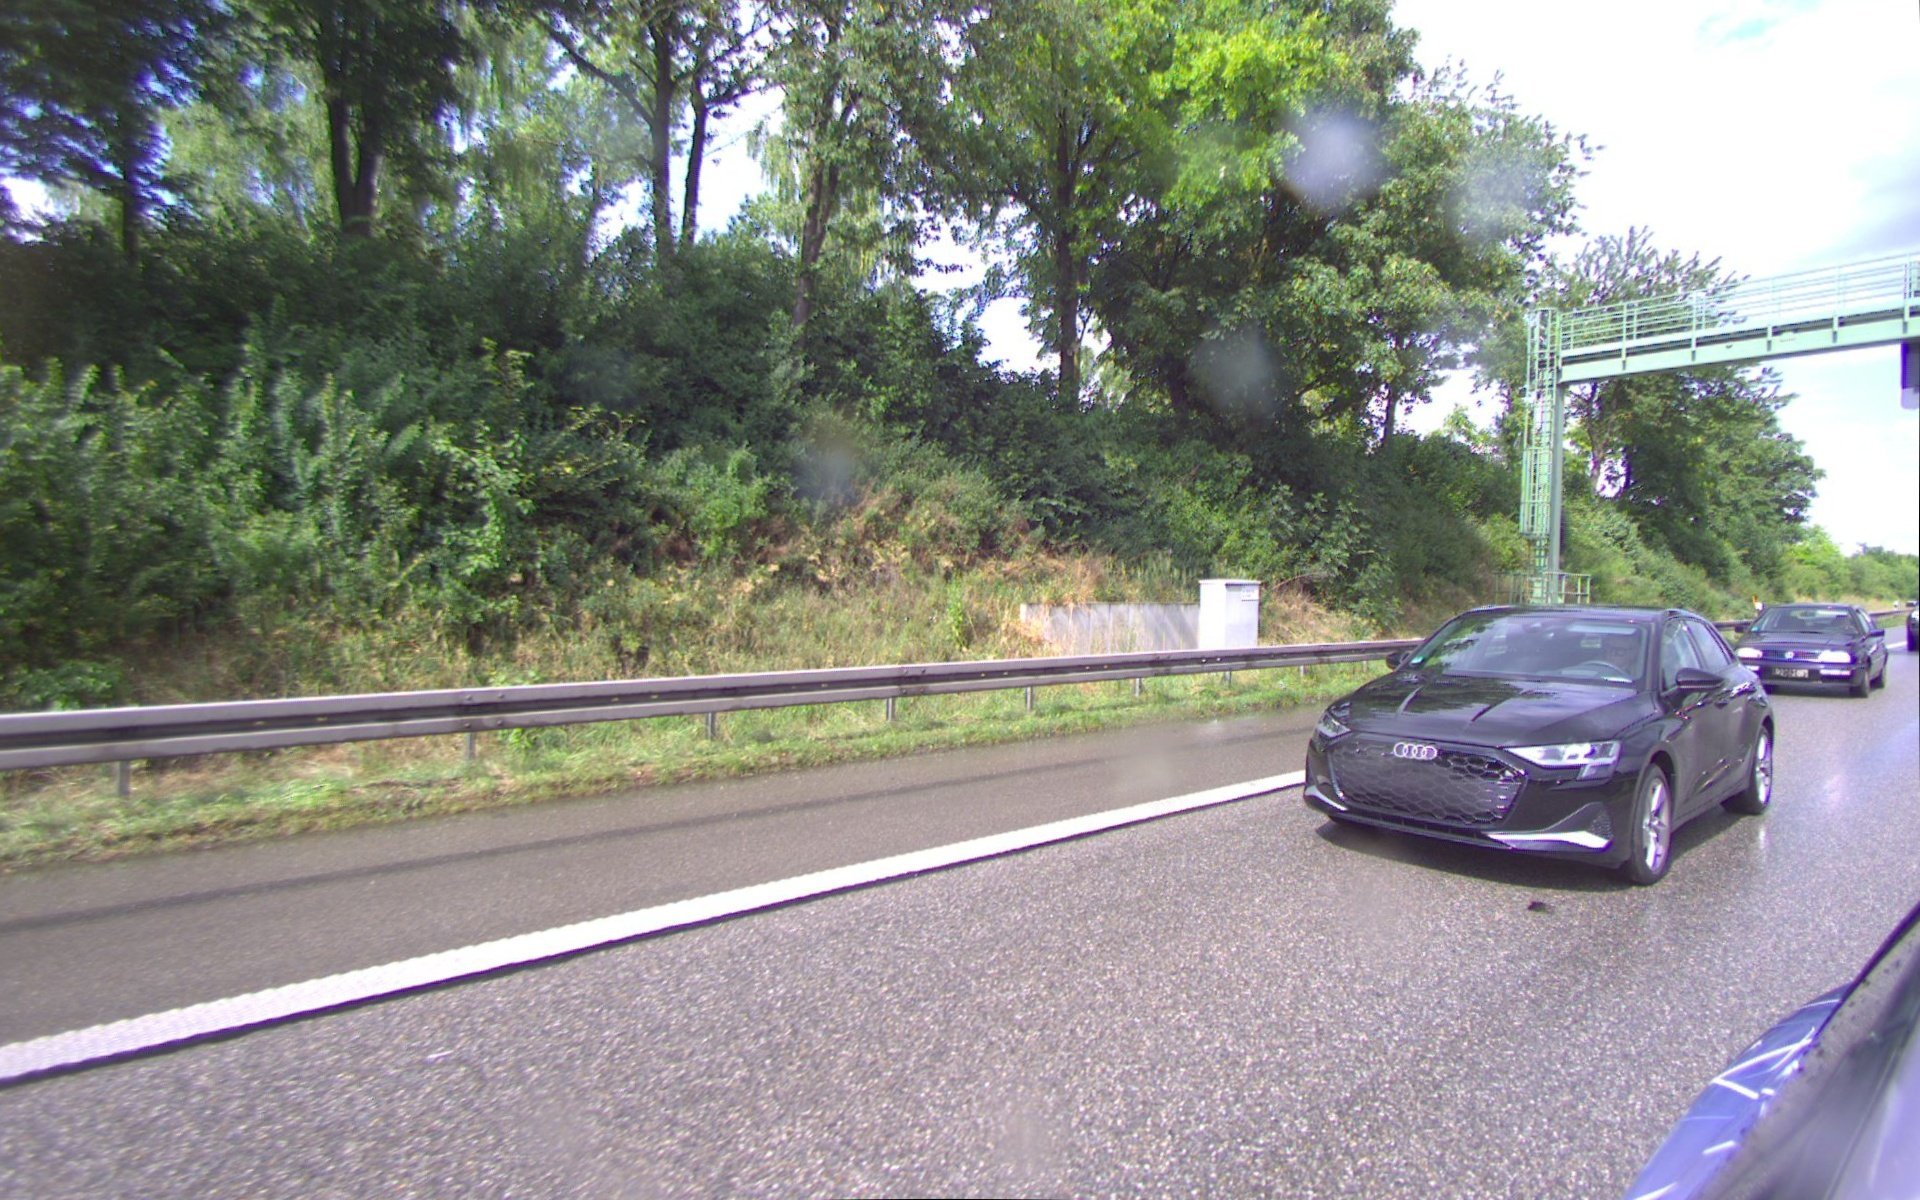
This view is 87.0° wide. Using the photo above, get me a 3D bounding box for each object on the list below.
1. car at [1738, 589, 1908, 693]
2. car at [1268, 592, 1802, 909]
[{"bbox_3d":[13.959,0.573,16.311,3.681,1.474,1.653,0,1,-43],"label":"car"},{"bbox_3d":[3.970,0.659,6.632,4.292,1.414,1.758,0,1,-41],"label":"car"}]
